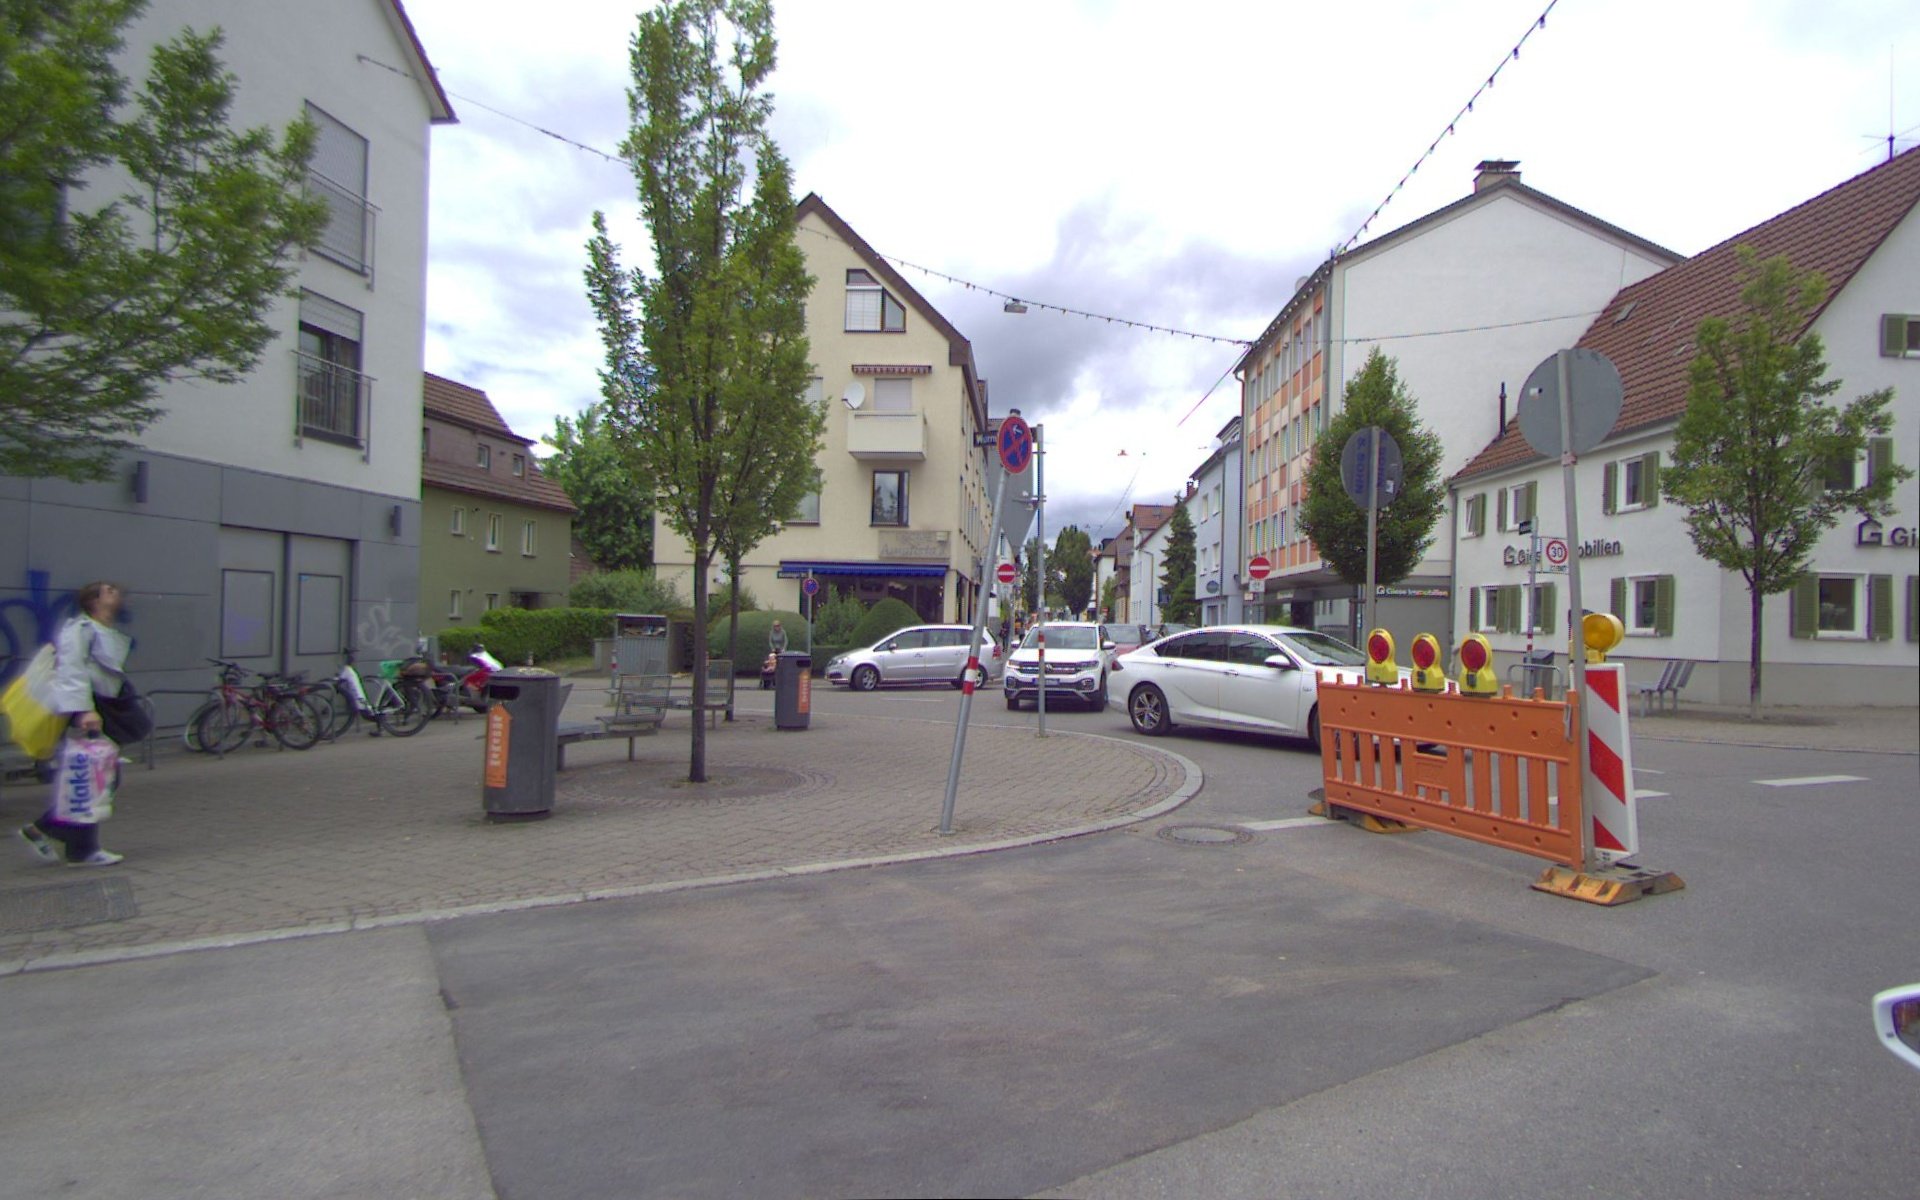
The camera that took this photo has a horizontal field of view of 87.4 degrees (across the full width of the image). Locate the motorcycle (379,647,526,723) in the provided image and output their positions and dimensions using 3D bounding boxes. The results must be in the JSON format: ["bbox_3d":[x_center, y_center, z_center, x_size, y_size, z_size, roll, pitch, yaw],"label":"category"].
[{"bbox_3d":[-8.055,1.334,15.999,1.916,1.119,0.803,-2,-1,1],"label":"motorcycle"}]

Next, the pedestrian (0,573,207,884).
[{"bbox_3d":[-4.879,0.677,5.613,0.865,1.613,0.681,1,-1,-17],"label":"pedestrian"}]

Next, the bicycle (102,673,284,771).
[{"bbox_3d":[-8.266,1.311,10.840,1.597,0.894,0.496,-5,-2,4],"label":"bicycle"}]

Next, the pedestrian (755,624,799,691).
[{"bbox_3d":[-4.713,1.471,25.899,0.755,1.691,0.955,0,-1,18],"label":"pedestrian"}]

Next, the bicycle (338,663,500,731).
[{"bbox_3d":[-7.984,1.421,14.861,2.033,0.877,0.629,-2,0,1],"label":"bicycle"}]

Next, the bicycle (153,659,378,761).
[{"bbox_3d":[-7.947,1.250,11.542,2.108,1.060,0.751,-2,-2,4],"label":"bicycle"}]

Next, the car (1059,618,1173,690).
[{"bbox_3d":[4.147,1.306,26.034,1.982,1.578,4.918,1,0,20],"label":"car"}]

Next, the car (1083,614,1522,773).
[{"bbox_3d":[4.032,0.981,12.669,2.228,1.496,4.869,1,0,-36],"label":"car"}]

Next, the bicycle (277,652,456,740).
[{"bbox_3d":[-7.762,1.247,13.183,1.921,1.088,0.812,-1,-2,6],"label":"bicycle"}]

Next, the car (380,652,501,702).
[{"bbox_3d":[-10.314,1.519,19.996,1.890,0.954,0.981,0,-1,-1],"label":"car"}]

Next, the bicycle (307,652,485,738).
[{"bbox_3d":[-7.874,1.321,14.072,2.084,1.075,0.693,-2,0,1],"label":"bicycle"}]

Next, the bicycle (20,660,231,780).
[{"bbox_3d":[-8.356,1.189,10.082,1.710,1.060,0.532,-3,-2,4],"label":"bicycle"}]

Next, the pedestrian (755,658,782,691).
[{"bbox_3d":[-4.821,1.867,25.320,0.563,0.810,0.454,0,-1,5],"label":"pedestrian"}]

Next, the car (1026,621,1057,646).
[{"bbox_3d":[5.563,2.310,69.027,1.960,1.661,4.329,0,-2,2],"label":"car"}]

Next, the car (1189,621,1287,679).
[{"bbox_3d":[8.690,1.509,31.874,1.981,1.578,4.920,1,0,3],"label":"car"}]

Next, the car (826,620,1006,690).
[{"bbox_3d":[-1.147,1.344,24.975,4.250,1.661,1.997,1,-2,-11],"label":"car"}]

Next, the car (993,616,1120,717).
[{"bbox_3d":[1.977,1.144,19.156,1.980,1.578,4.922,1,0,10],"label":"car"}]

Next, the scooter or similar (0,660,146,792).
[{"bbox_3d":[-8.522,1.141,9.316,1.502,1.138,0.598,0,-1,5],"label":"scooter or similar"}]
